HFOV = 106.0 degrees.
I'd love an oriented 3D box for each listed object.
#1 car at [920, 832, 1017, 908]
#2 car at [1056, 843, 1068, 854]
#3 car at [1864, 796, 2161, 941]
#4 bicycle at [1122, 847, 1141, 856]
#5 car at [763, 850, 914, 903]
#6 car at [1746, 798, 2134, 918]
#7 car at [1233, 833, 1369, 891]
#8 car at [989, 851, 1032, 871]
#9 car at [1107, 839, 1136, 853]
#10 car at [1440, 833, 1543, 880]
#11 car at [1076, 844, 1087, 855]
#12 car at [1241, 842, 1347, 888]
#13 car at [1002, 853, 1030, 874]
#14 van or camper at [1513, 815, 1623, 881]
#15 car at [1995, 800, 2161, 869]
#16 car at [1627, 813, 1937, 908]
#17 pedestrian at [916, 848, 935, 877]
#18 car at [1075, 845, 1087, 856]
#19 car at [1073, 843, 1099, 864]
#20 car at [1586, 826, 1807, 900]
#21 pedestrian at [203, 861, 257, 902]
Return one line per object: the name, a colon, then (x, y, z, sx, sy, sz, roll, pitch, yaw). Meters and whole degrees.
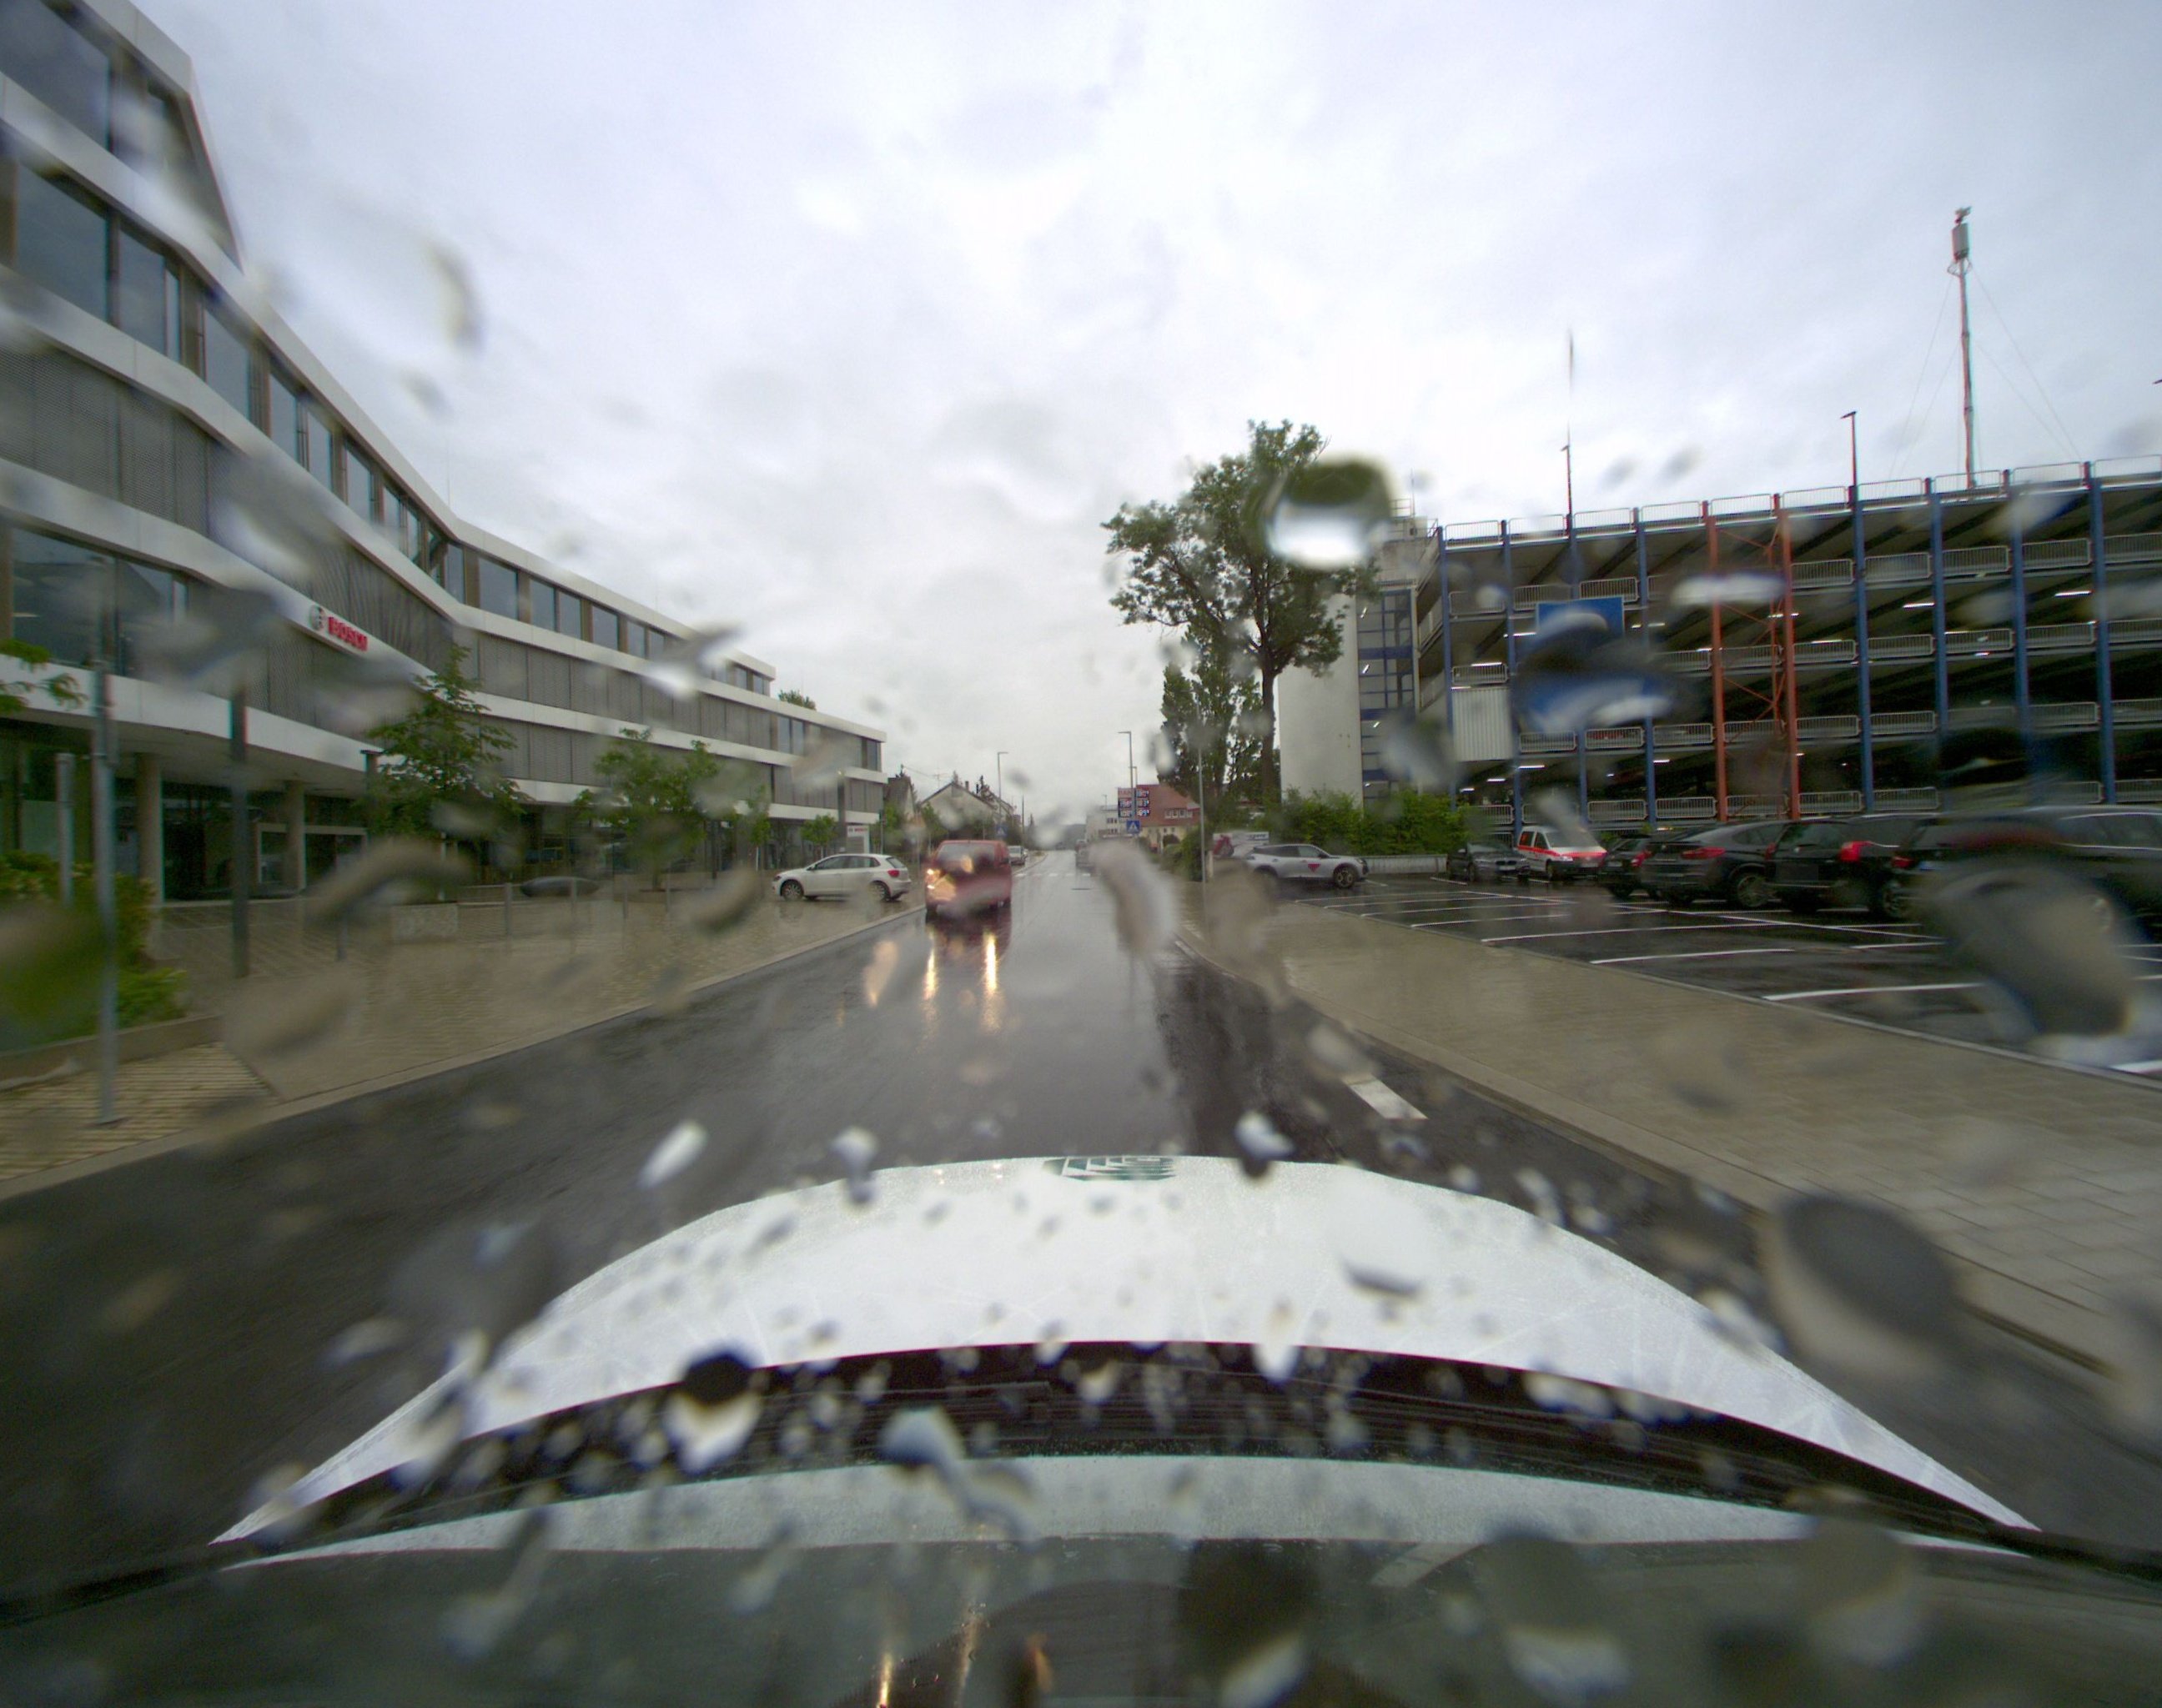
car: (-2.931, 0.388, 22.324, 1.997, 1.818, 4.977, -1, 0, -1)
car: (-3.631, -1.018, 153.979, 2.147, 1.706, 3.999, 2, -1, 0)
car: (13.119, 0.127, 10.508, 4.344, 1.651, 1.843, -2, 0, -3)
bicycle: (6.982, -0.338, 112.665, 0.673, 1.067, 3.593, 3, -2, -31)
car: (-7.205, 0.650, 24.472, 3.914, 1.423, 1.898, -1, 0, 0)
car: (13.639, 0.059, 13.126, 4.340, 1.658, 1.786, -2, 0, 0)
car: (7.320, 0.269, 27.512, 4.181, 1.649, 2.006, -3, 0, 9)
car: (-8.012, 0.772, 92.174, 4.751, 2.014, 1.994, 2, -2, -9)
car: (5.889, -1.158, 119.274, 4.103, 1.706, 1.786, 2, -2, -4)
car: (13.939, 0.065, 27.957, 1.921, 1.442, 4.217, -1, 0, 8)
car: (0.052, -0.810, 148.139, 1.987, 1.706, 3.999, 2, -1, 0)
car: (7.836, 0.399, 30.207, 3.599, 1.494, 1.811, -2, 0, 9)
car: (-5.512, 0.771, 69.538, 1.987, 1.629, 4.153, -2, 1, 0)
van or camper: (16.424, -0.197, 27.735, 1.825, 2.036, 4.476, -1, 0, 12)
car: (30.609, -0.523, 24.670, 1.880, 1.814, 4.012, 2, -1, 11)
car: (13.129, 0.112, 15.432, 4.343, 1.559, 1.839, -2, 0, -2)
pedestrian: (-9.421, 0.510, 49.432, 1.011, 1.724, 0.771, -1, 0, -3)
car: (0.033, -0.581, 135.012, 1.987, 1.706, 3.999, 2, -1, 0)
car: (0.387, 0.020, 66.628, 1.943, 1.556, 3.996, 2, -1, -2)
car: (13.569, 0.187, 18.114, 3.674, 1.500, 1.642, -1, 0, 0)
pedestrian: (-28.707, 0.916, 27.496, 0.900, 1.314, 1.052, 3, -2, -27)
